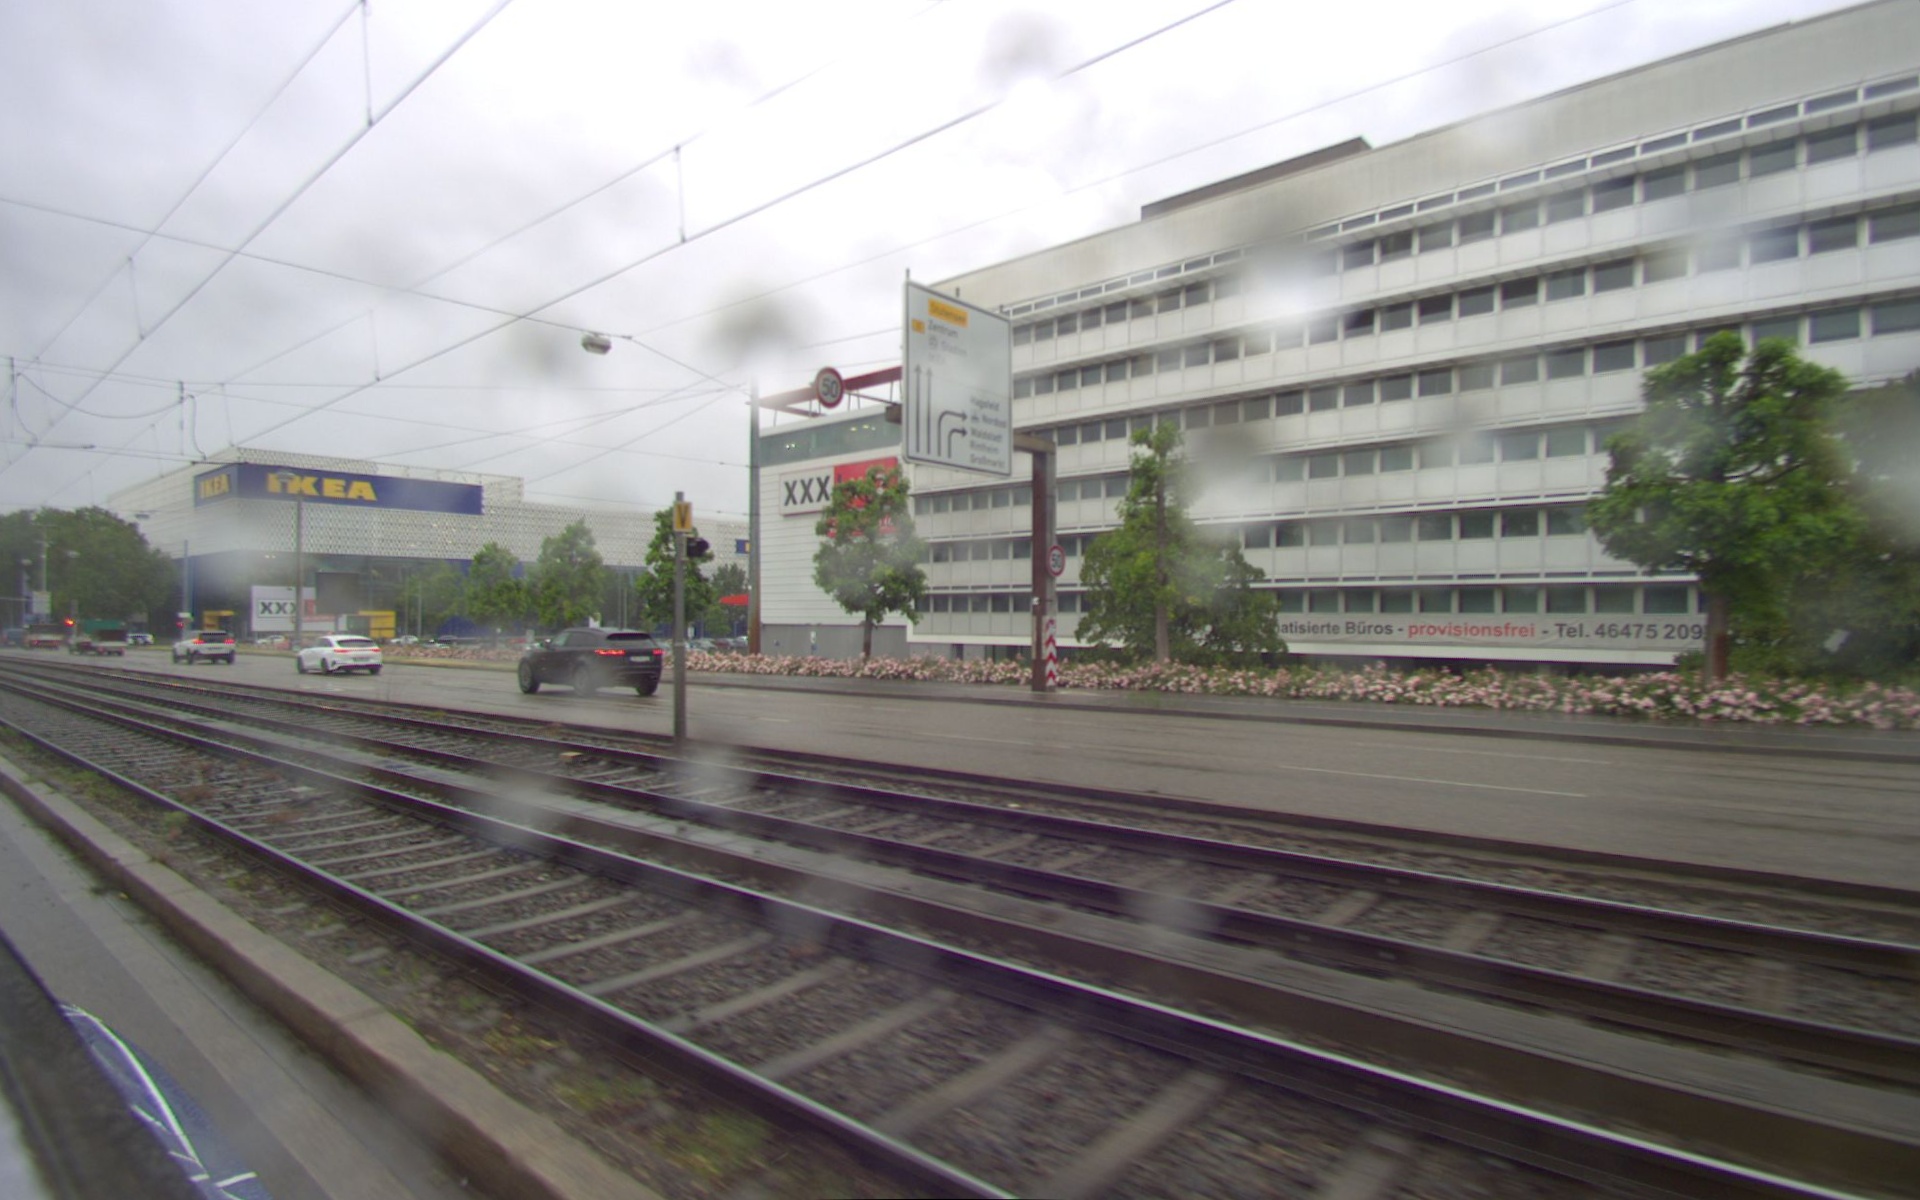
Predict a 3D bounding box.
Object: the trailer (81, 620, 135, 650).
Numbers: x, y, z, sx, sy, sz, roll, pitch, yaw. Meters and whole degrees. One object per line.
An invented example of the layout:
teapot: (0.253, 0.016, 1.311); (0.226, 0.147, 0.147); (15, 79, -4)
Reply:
trailer: (-57.242, 2.344, 67.960); (3.832, 1.806, 2.098); (-2, 0, 40)

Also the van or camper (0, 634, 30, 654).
van or camper: (-97.453, 4.513, 103.999); (5.684, 2.029, 2.280); (-2, -2, 42)

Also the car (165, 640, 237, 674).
car: (-37.590, 2.780, 50.083); (4.764, 1.595, 1.972); (-2, -3, 42)

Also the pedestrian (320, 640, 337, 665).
pedestrian: (-47.343, 3.928, 75.863); (1.050, 1.776, 0.814); (-1, 1, 43)

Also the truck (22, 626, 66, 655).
truck: (-82.687, 3.637, 91.339); (6.064, 2.480, 2.204); (-2, -4, 41)

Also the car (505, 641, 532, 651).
car: (-77.005, 8.052, 176.543); (1.602, 1.417, 3.930); (-1, 0, 43)

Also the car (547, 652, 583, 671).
car: (-45.269, 7.029, 115.949); (4.085, 2.029, 1.975); (-2, 0, 38)

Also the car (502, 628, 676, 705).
car: (-9.344, 1.593, 25.273); (4.879, 1.734, 1.973); (-2, -3, 41)

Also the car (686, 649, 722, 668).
car: (-29.647, 6.735, 117.129); (3.995, 2.029, 1.974); (-1, 0, 38)

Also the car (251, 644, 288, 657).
car: (-99.634, 7.312, 146.025); (1.999, 1.615, 4.053); (-1, 0, 41)

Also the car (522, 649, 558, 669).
car: (-47.344, 6.659, 114.169); (4.085, 2.029, 1.975); (-2, 0, 38)

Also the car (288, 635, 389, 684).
car: (-22.879, 2.136, 37.194); (4.685, 1.695, 1.753); (-2, -2, 40)

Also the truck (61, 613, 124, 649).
truck: (-61.484, 2.207, 71.688); (7.217, 2.476, 2.409); (-2, -3, 42)
